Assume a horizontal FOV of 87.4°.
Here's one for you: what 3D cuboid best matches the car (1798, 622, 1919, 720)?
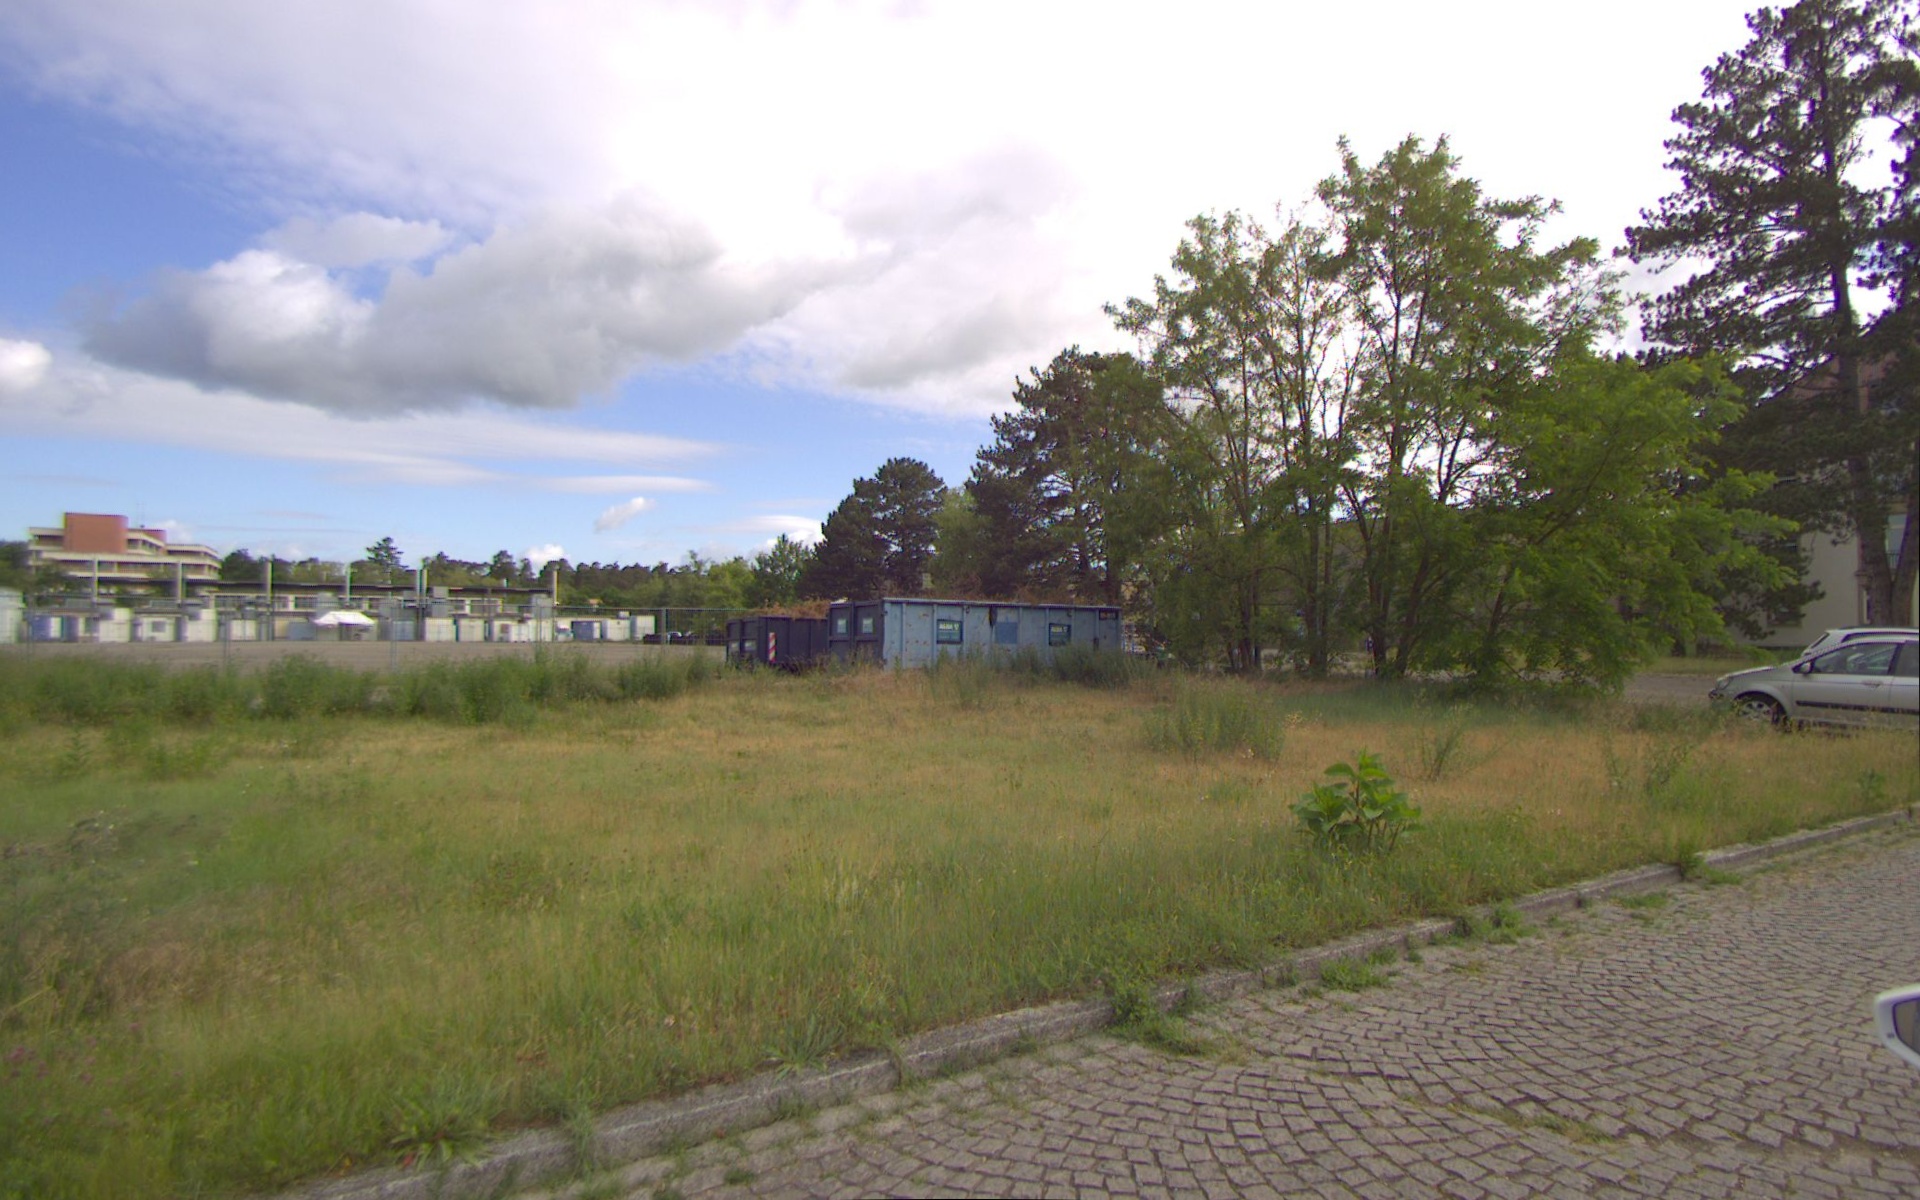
[{"bbox_3d":[17.028,1.253,17.104,1.633,1.584,3.923,1,1,-34],"label":"car"}]

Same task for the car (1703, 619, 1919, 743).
[{"bbox_3d":[12.756,1.102,13.876,1.566,1.499,3.679,1,1,-34],"label":"car"}]

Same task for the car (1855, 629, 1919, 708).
[{"bbox_3d":[19.197,1.345,18.360,1.632,1.440,3.926,1,1,-31],"label":"car"}]

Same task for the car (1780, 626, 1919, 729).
[{"bbox_3d":[14.980,1.214,15.158,1.566,1.448,3.722,1,1,-34],"label":"car"}]
